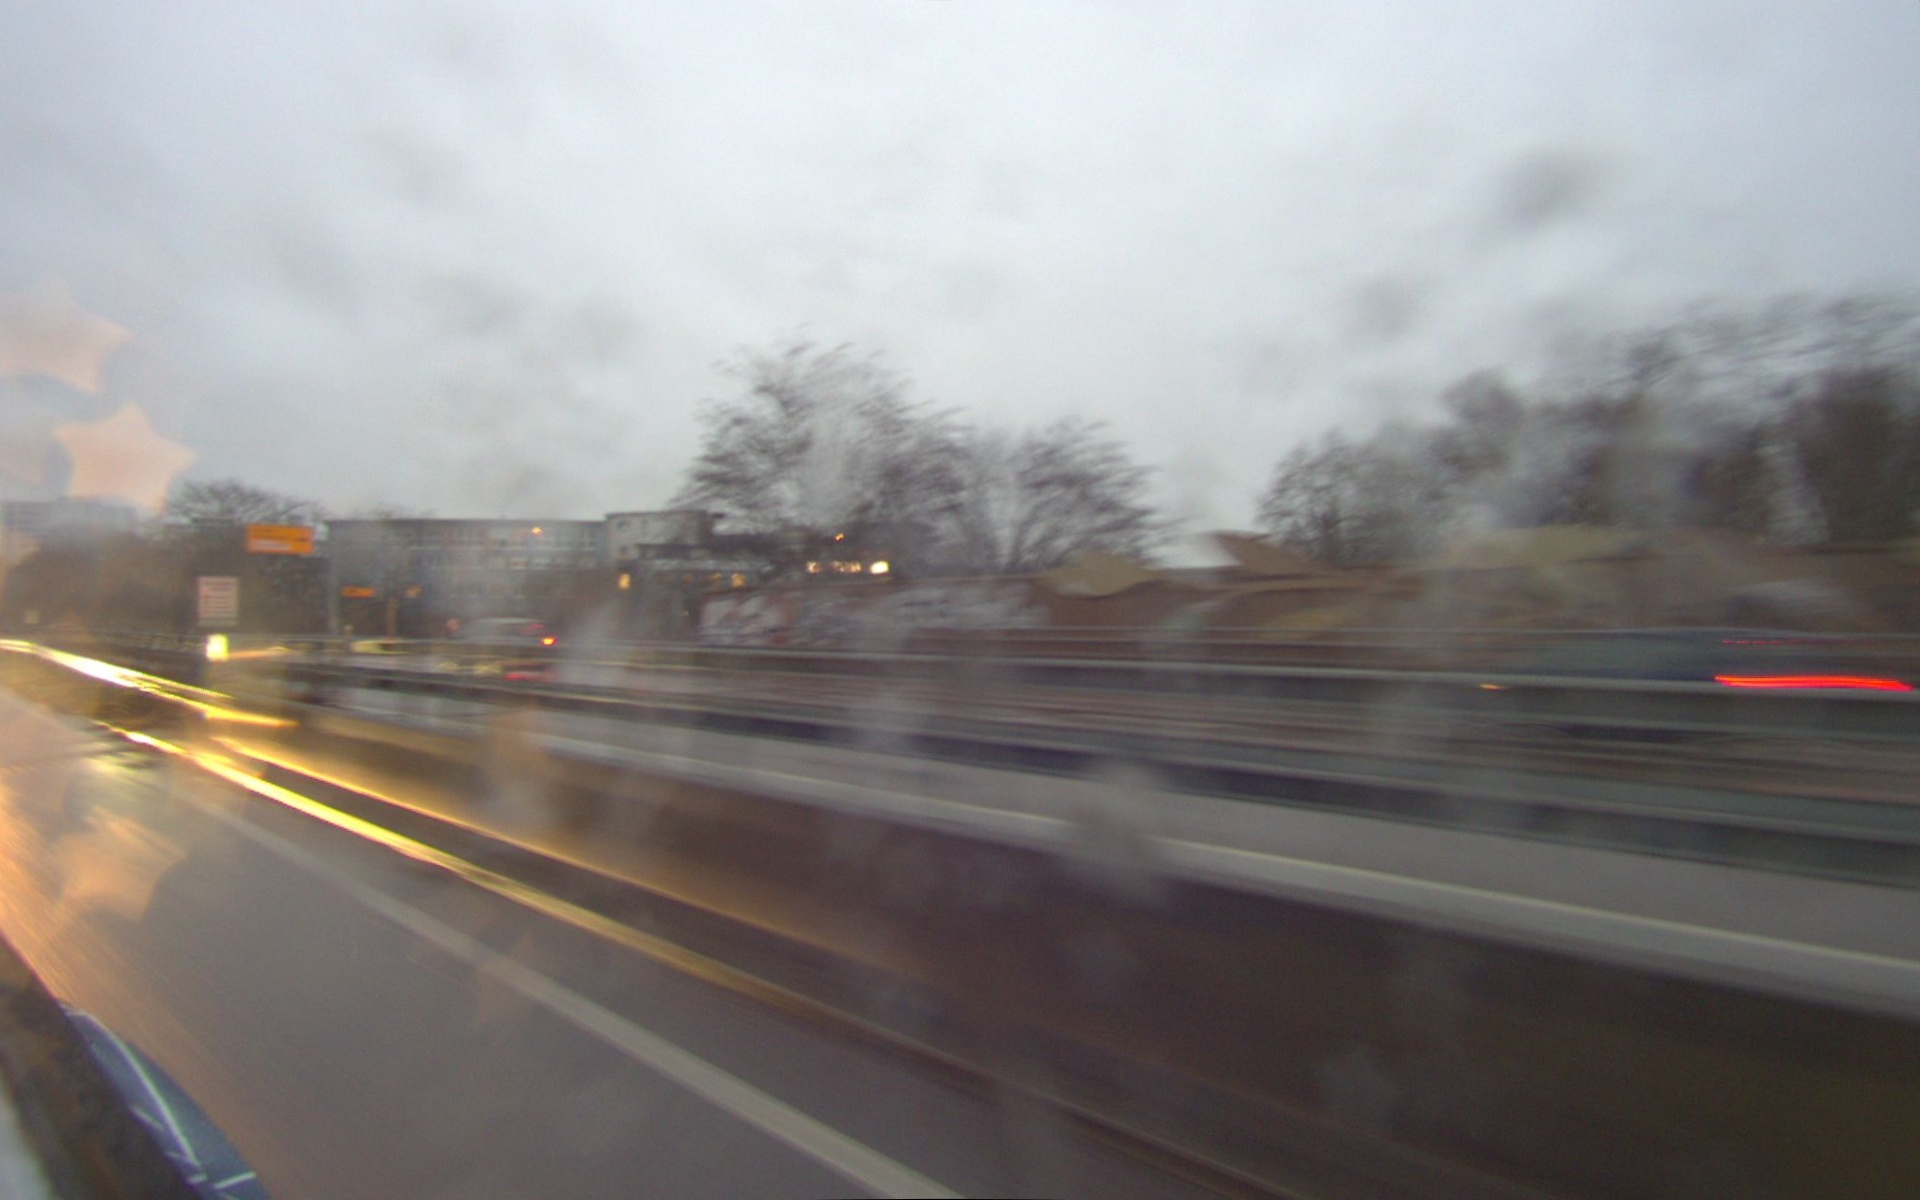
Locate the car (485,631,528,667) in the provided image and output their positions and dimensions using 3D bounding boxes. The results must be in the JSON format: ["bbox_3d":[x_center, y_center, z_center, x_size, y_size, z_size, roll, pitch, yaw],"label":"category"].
[{"bbox_3d":[-22.326,2.361,49.943,1.813,1.574,4.698,-1,0,-23],"label":"car"}]

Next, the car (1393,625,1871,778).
[{"bbox_3d":[7.735,1.034,11.979,4.458,1.476,1.874,-1,-2,41],"label":"car"}]

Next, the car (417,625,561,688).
[{"bbox_3d":[-13.130,1.505,28.056,4.848,1.576,1.768,-2,-1,41],"label":"car"}]

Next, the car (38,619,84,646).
[{"bbox_3d":[-70.005,2.532,78.792,4.282,1.933,1.974,-2,0,39],"label":"car"}]
